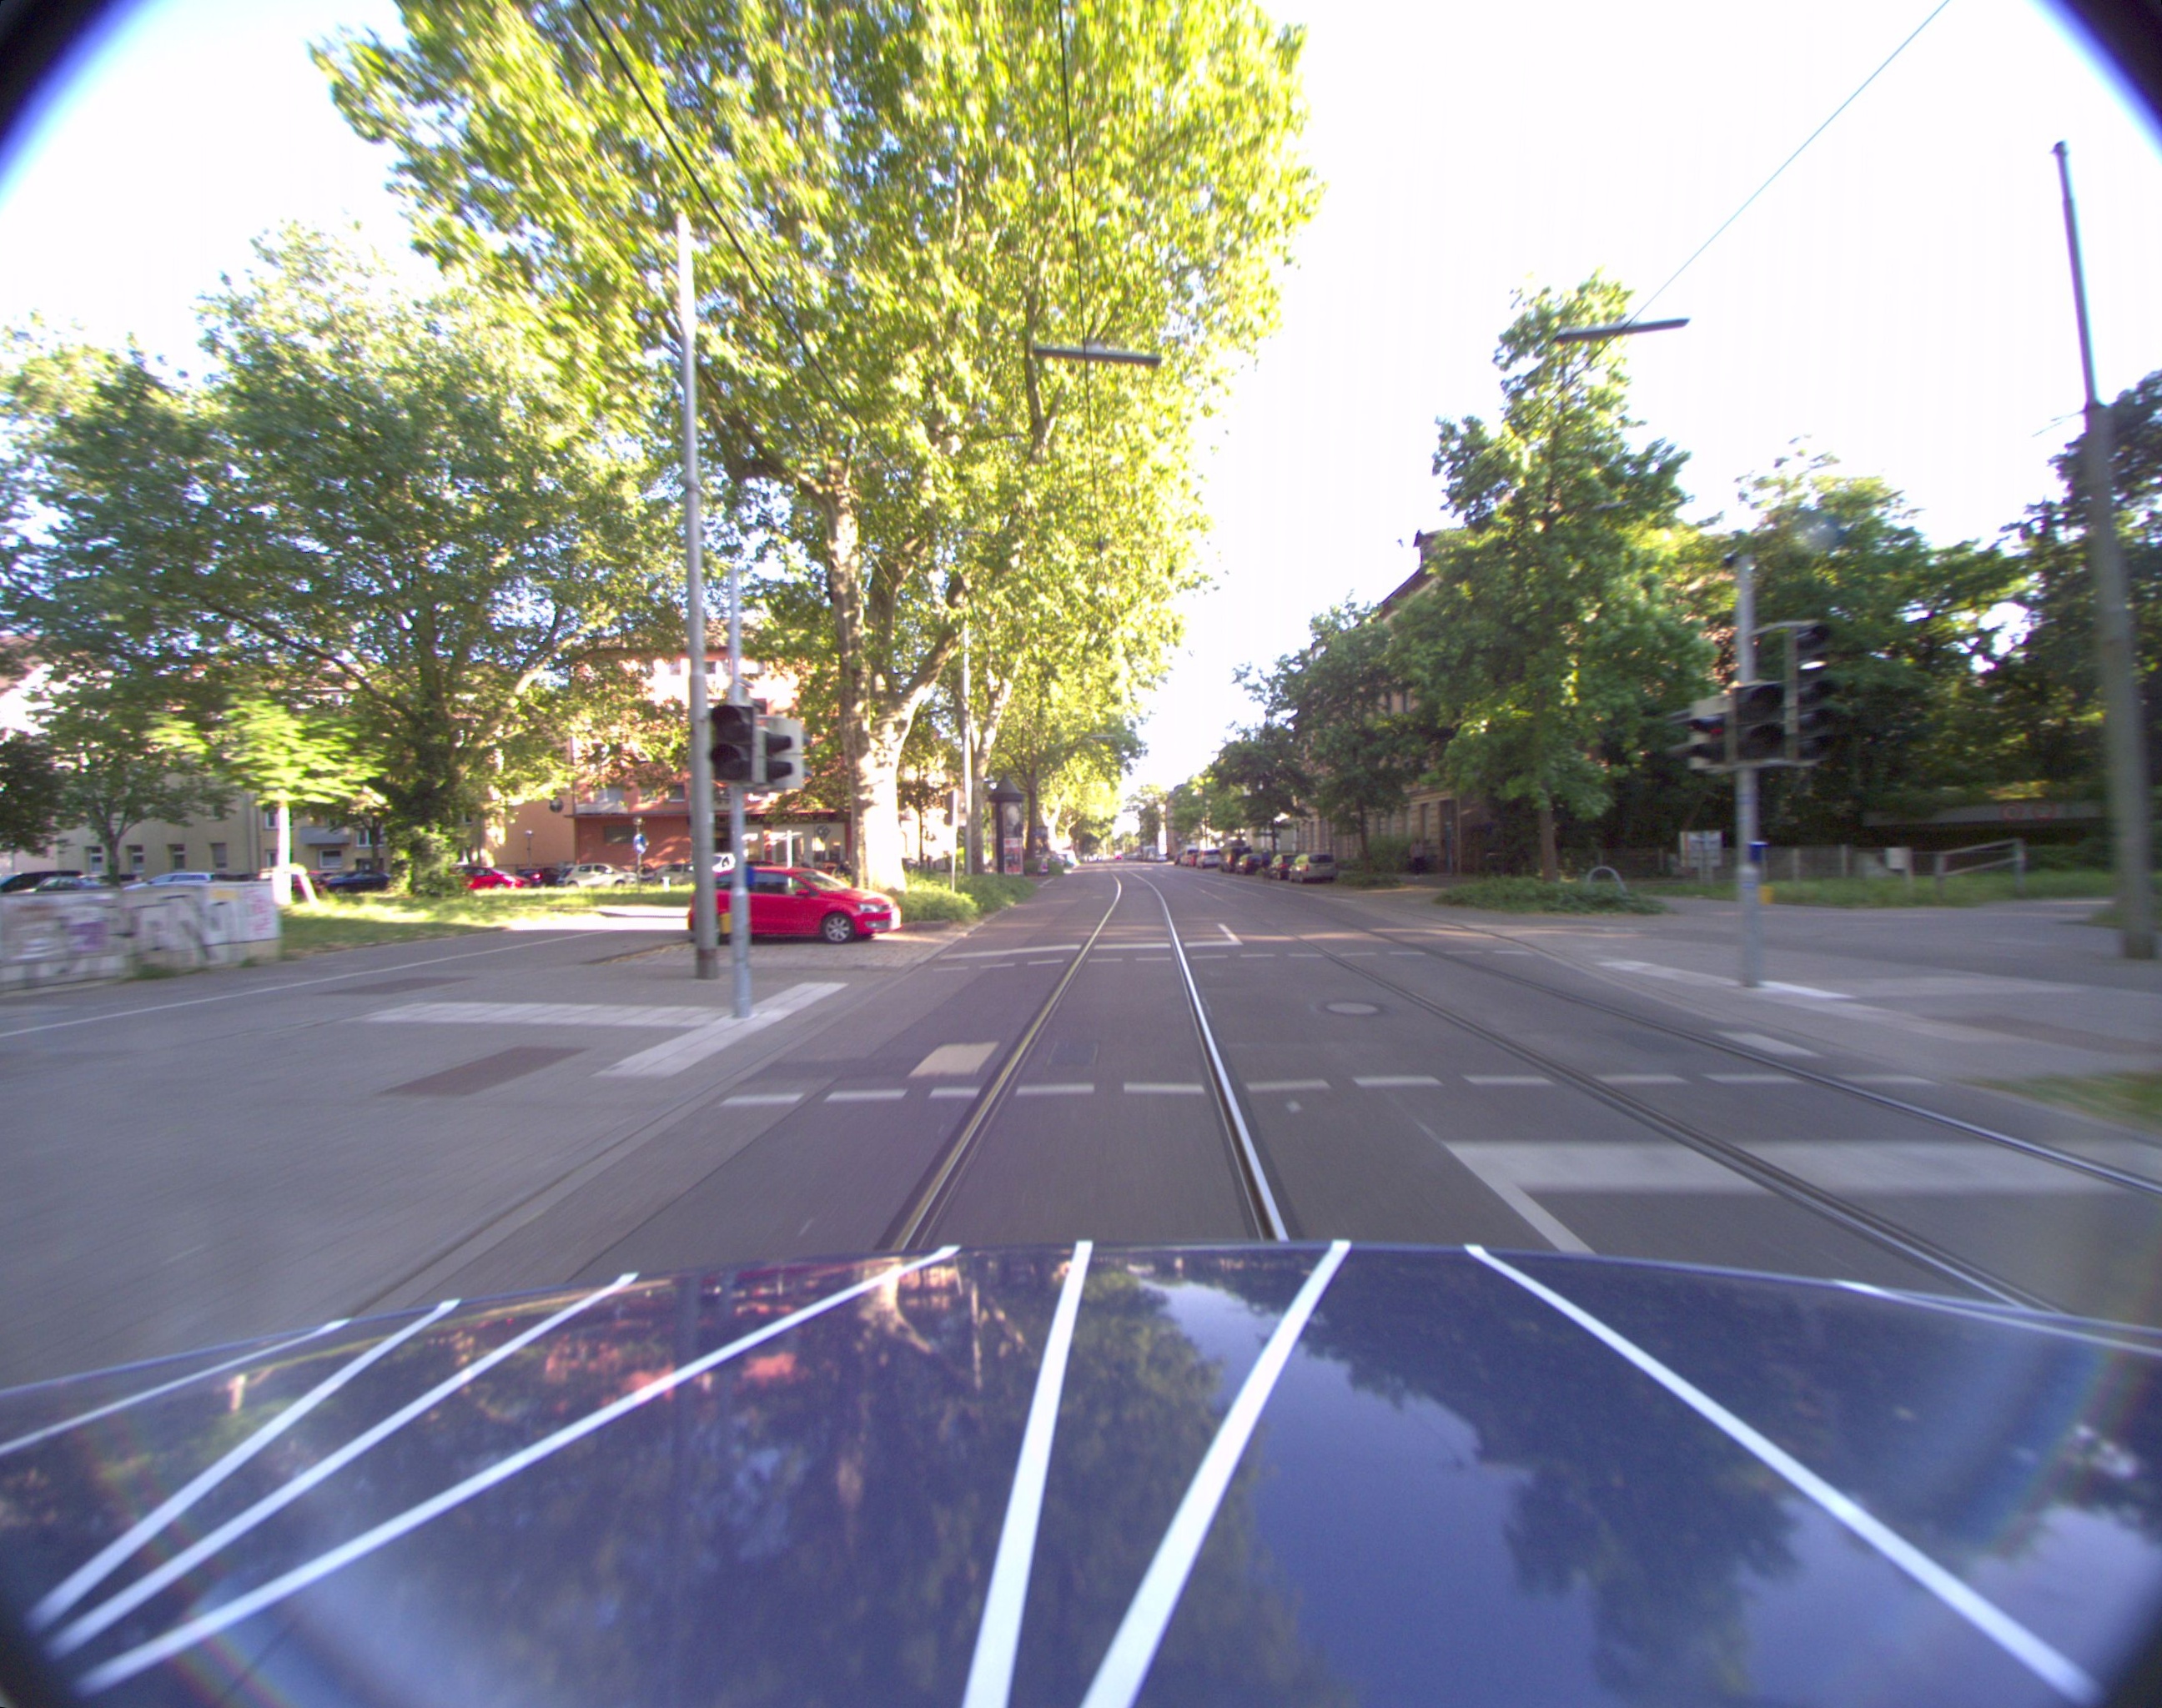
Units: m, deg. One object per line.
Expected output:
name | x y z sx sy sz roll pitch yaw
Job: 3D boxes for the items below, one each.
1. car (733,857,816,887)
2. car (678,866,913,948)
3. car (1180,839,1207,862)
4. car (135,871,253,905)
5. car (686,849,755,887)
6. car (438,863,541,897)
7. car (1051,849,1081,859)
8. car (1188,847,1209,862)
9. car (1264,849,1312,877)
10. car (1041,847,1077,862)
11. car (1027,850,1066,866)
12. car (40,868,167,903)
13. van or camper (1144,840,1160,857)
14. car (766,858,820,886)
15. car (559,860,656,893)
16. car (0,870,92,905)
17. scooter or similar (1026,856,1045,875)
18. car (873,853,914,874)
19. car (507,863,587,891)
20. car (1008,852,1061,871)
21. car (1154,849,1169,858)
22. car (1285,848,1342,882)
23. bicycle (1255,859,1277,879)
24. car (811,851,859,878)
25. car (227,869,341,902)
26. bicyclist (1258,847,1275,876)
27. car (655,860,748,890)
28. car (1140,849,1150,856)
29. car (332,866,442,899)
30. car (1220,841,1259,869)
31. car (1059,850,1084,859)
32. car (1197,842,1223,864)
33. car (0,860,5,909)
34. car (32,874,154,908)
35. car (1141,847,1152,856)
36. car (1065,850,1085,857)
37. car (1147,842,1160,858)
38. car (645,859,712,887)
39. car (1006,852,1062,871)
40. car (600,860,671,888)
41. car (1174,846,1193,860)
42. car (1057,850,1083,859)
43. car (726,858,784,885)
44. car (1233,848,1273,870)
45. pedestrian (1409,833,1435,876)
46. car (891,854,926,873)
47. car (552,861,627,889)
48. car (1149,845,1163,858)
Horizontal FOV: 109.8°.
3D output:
car | -15.672 0.897 38.954 3.547 1.444 1.683 -1 0 -1
car | -5.432 0.996 14.742 3.893 1.415 1.649 -1 1 4
car | 12.946 -0.429 87.744 2.310 2.494 5.343 -1 0 0
car | -44.766 1.712 38.396 3.927 1.572 1.683 -1 0 -1
car | -22.222 0.798 47.032 1.917 2.171 5.083 -1 0 -2
car | -30.284 1.317 38.964 3.927 1.572 1.683 -1 0 -1
car | -2.503 0.037 126.374 4.810 1.621 1.893 -1 0 1
car | 12.799 0.077 82.826 1.689 1.530 3.707 -1 0 1
car | 11.590 0.489 42.803 1.662 1.437 3.949 -2 0 1
car | -2.993 0.009 102.817 4.859 2.002 2.194 0 1 -2
car | -3.847 0.416 84.842 4.211 1.609 1.878 -1 1 -1
car | -58.559 1.840 45.656 1.794 1.896 4.576 -1 0 -2
van or camper | 13.754 -1.053 147.682 2.423 2.960 5.991 -5 0 2
car | -17.487 1.035 46.350 1.794 1.565 4.576 -1 0 -4
car | -24.392 1.141 39.210 3.927 1.572 1.683 -1 0 -1
car | -63.374 1.988 45.736 1.794 1.896 4.576 -1 0 -2
scooter or similar | -3.031 0.738 50.886 1.211 1.233 0.569 -1 1 0
car | -13.593 0.662 55.346 1.753 1.426 4.468 -1 0 2
car | -32.731 1.356 46.713 1.794 1.565 4.576 -1 0 -2
car | -4.095 0.624 67.071 4.413 1.534 1.952 -1 1 4
car | 13.213 -0.086 124.239 1.776 1.484 4.940 -2 0 -1
car | 11.460 0.487 37.779 1.703 1.541 4.537 -2 0 4
bicycle | 9.469 0.758 38.945 0.642 0.981 2.101 2 0 1
car | -15.170 0.639 47.095 1.794 1.565 4.576 -1 0 -4
car | -40.410 1.583 38.602 3.927 1.572 1.683 -1 0 -1
bicyclist | 9.496 0.376 38.929 0.642 1.447 0.837 2 1 1
car | -19.579 1.062 39.270 3.927 1.444 1.683 -1 0 -1
car | 14.300 -0.435 169.541 1.791 1.462 4.435 -2 0 0
car | -35.119 1.428 38.507 3.927 1.572 1.683 -1 0 -1
car | 12.075 0.089 58.245 1.998 2.002 4.834 -1 0 0
car | -1.722 0.093 142.033 4.610 1.485 1.893 -1 0 4
car | 12.267 -0.079 72.560 1.848 1.977 4.988 -1 0 2
car | -58.505 1.627 38.472 5.042 2.548 1.976 -1 1 -1
car | -50.078 1.872 38.563 3.927 1.572 1.683 -1 0 -1
car | 13.714 -0.504 159.392 1.791 1.743 4.435 -2 0 0
car | -1.508 -0.151 181.316 4.610 1.705 1.893 -1 0 4
car | 13.436 -0.822 141.097 1.927 2.730 4.546 -5 0 2
car | -24.632 1.114 46.696 1.794 1.565 4.576 -1 0 -2
car | -3.981 0.643 64.561 4.411 1.534 1.818 -1 1 8
car | -27.427 1.196 46.952 1.794 1.565 4.576 -1 0 -2
car | 13.054 -0.108 96.949 1.997 1.680 4.262 -1 0 4
car | -1.942 0.121 139.765 4.610 1.485 1.893 -1 0 4
car | -20.138 1.042 47.146 1.794 1.565 4.576 -1 0 -2
car | 12.059 0.306 53.543 1.857 1.450 4.270 -1 0 0
pedestrian | 15.133 0.032 33.768 0.743 1.836 0.728 -3 1 0
car | -13.711 0.715 60.604 1.753 1.426 3.950 -1 0 2
car | -30.376 1.282 47.103 1.794 1.565 4.576 -1 0 -2
car | 13.328 -0.448 134.818 1.927 2.034 4.941 -2 0 0
